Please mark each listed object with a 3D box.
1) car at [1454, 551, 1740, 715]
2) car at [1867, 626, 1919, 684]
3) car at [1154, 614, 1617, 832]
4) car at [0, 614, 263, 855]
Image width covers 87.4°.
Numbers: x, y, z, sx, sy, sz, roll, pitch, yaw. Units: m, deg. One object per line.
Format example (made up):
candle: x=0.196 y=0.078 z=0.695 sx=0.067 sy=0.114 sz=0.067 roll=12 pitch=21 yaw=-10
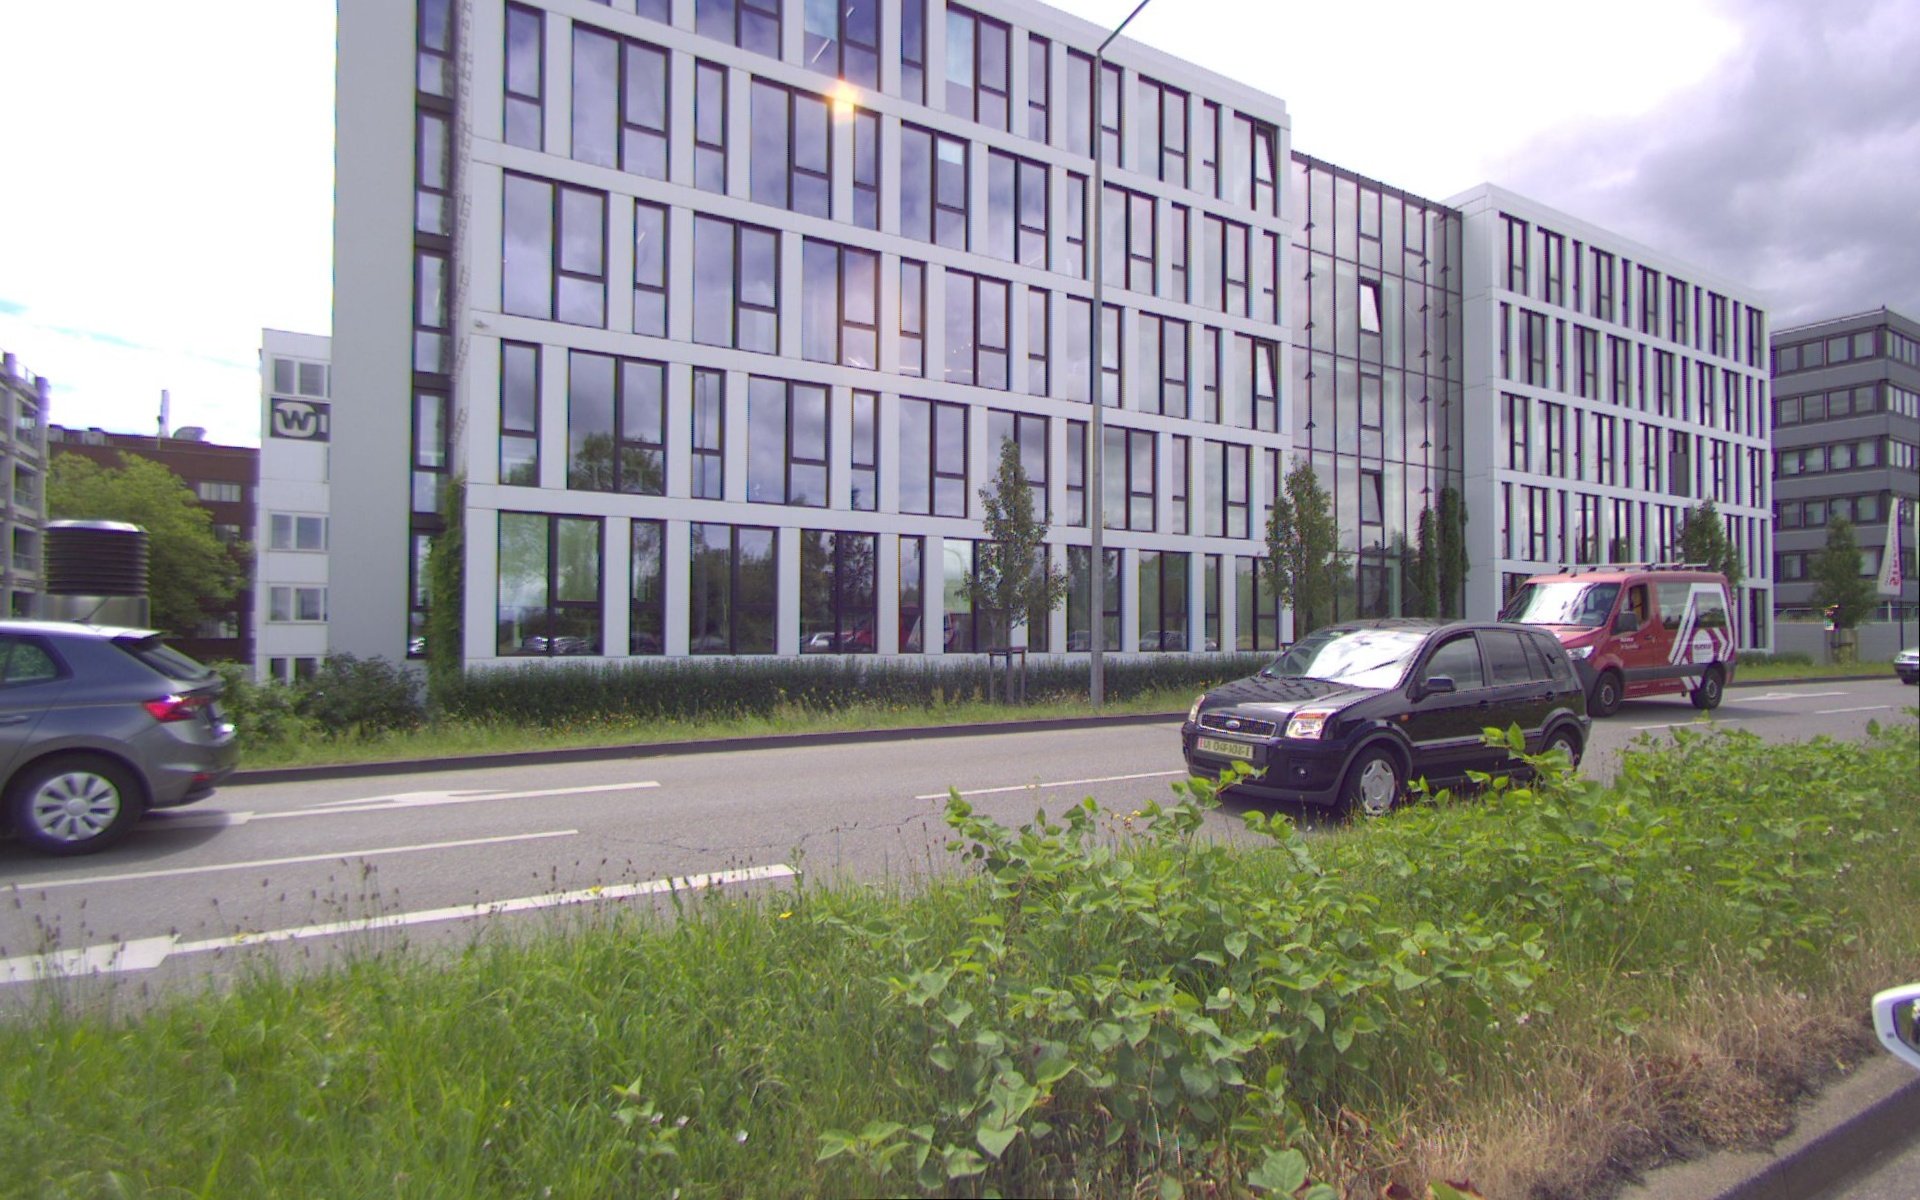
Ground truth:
car: x=10.925 y=0.555 z=17.120 sx=5.179 sy=2.444 sz=1.984 roll=1 pitch=-2 yaw=-30
car: x=24.472 y=1.315 z=24.306 sx=3.934 sy=1.372 sz=1.993 roll=0 pitch=-1 yaw=-16
car: x=3.736 y=0.884 z=8.667 sx=3.953 sy=1.502 sz=1.671 roll=1 pitch=-1 yaw=-30
car: x=-6.886 y=0.793 z=6.302 sx=3.953 sy=1.416 sz=1.923 roll=1 pitch=-1 yaw=-31
